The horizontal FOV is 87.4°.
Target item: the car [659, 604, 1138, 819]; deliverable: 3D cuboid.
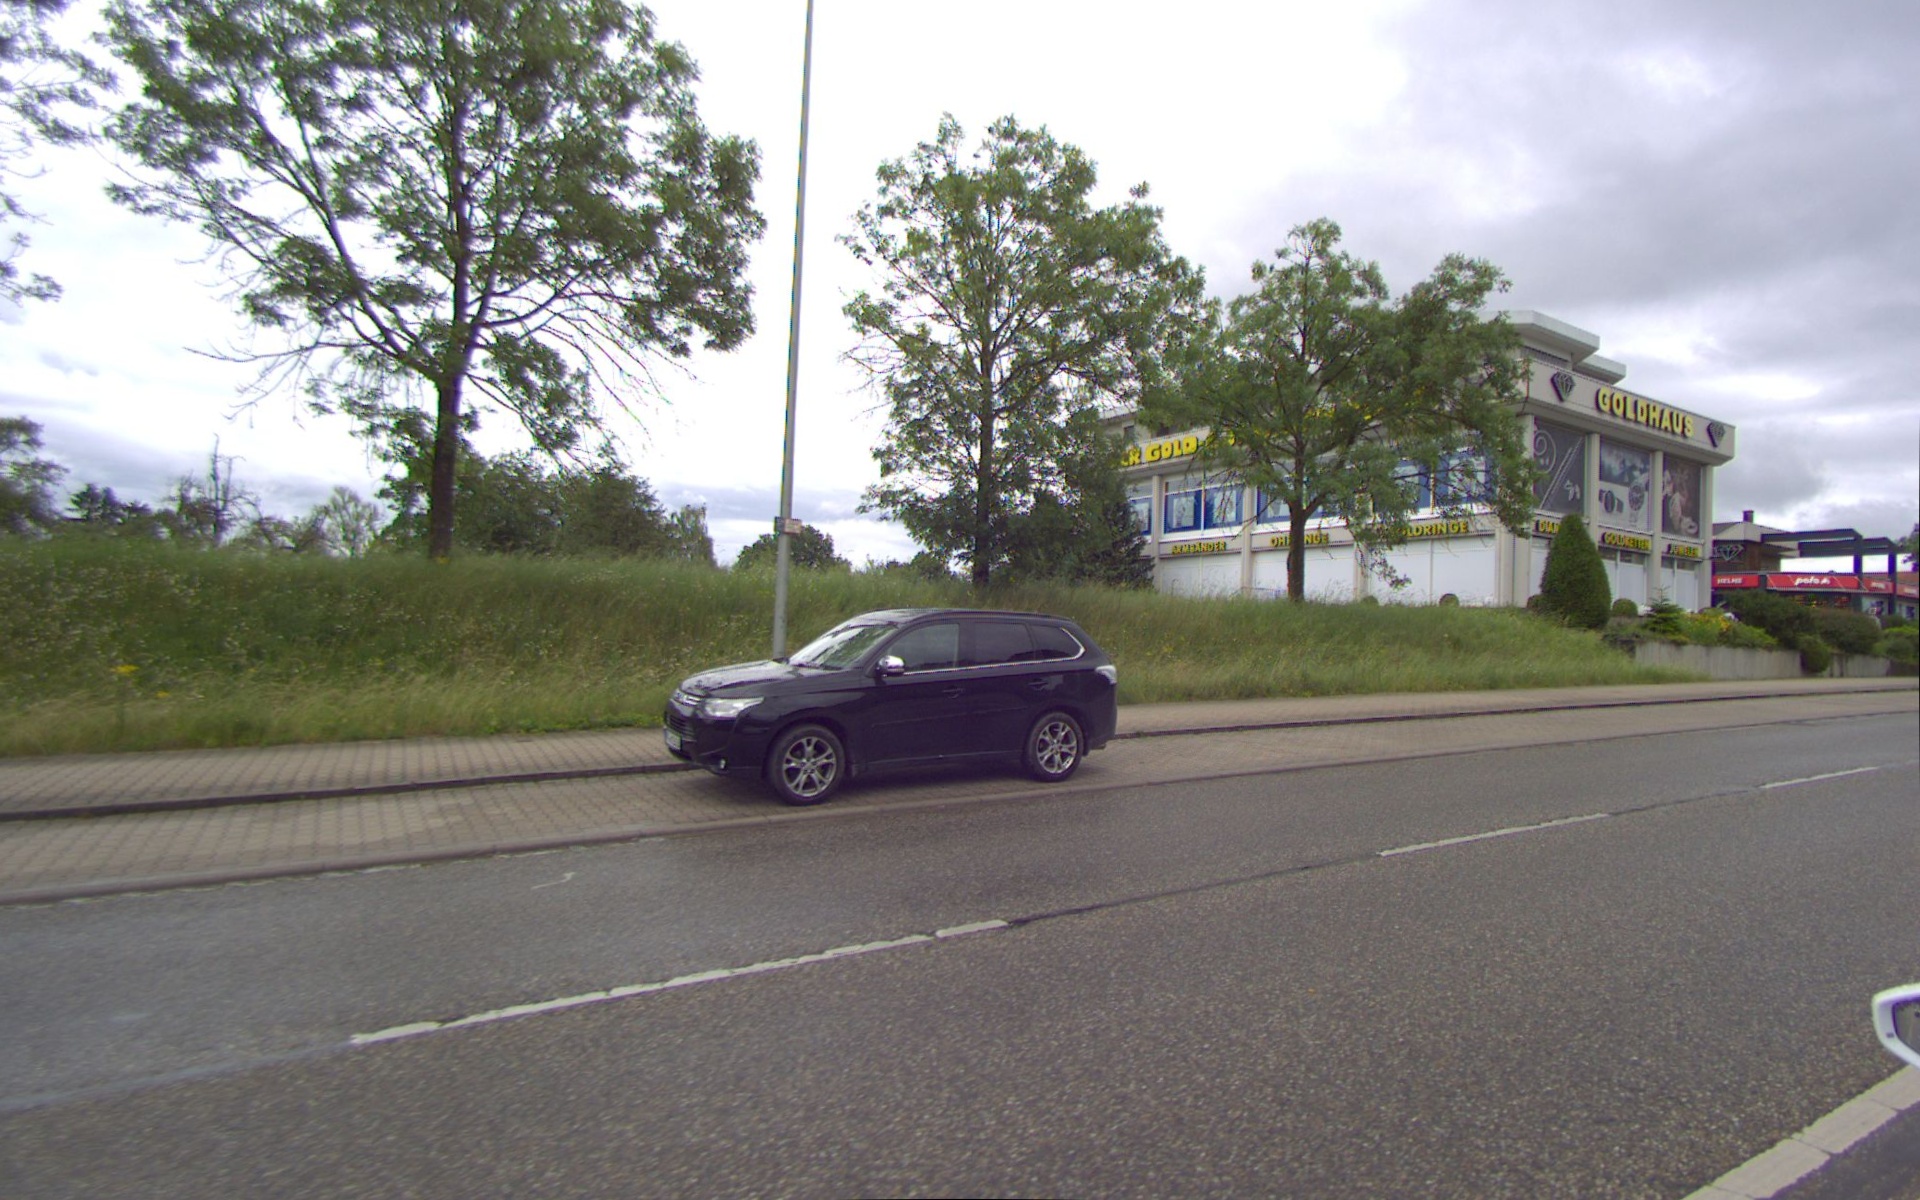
[{"bbox_3d":[-0.519,0.938,9.932,4.435,1.690,1.718,1,0,-30],"label":"car"}]
